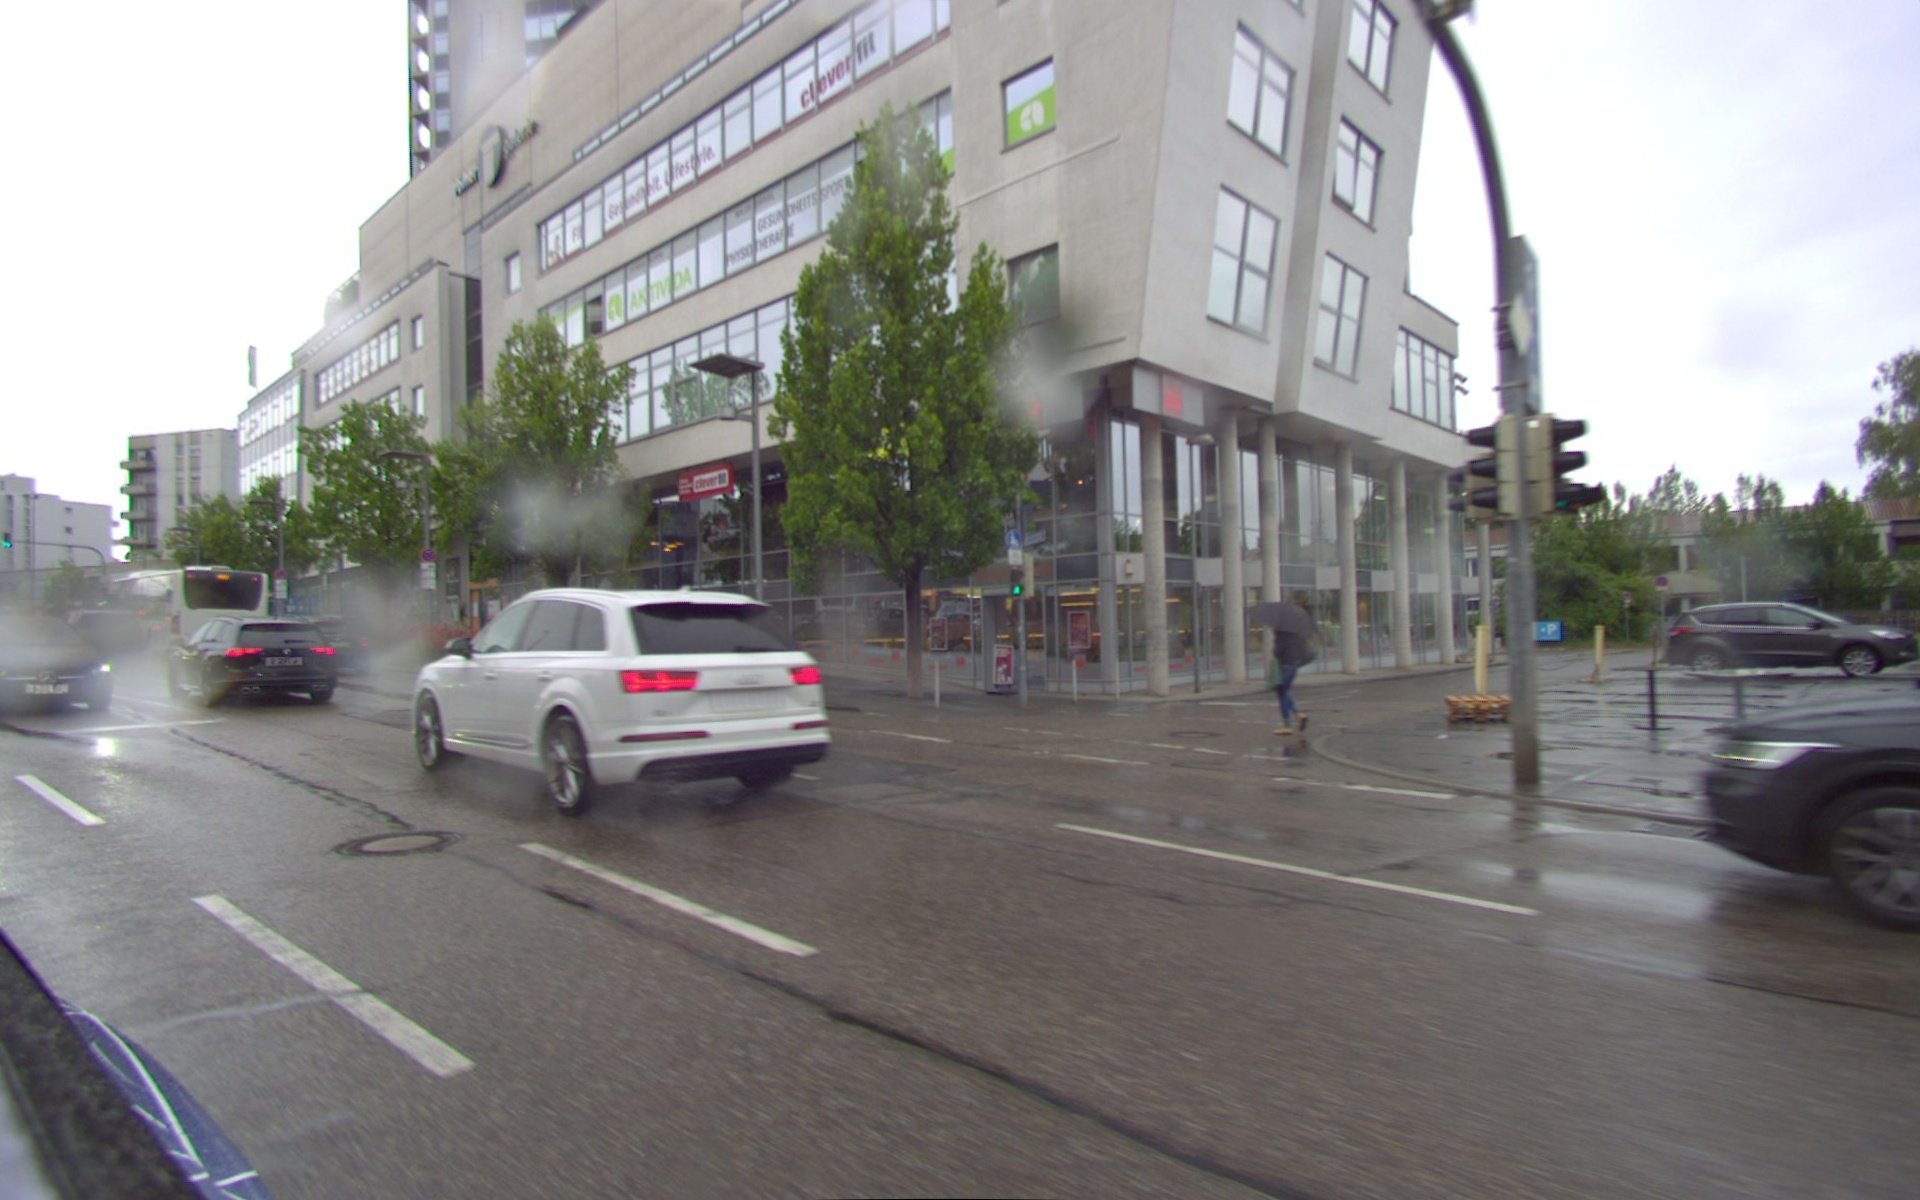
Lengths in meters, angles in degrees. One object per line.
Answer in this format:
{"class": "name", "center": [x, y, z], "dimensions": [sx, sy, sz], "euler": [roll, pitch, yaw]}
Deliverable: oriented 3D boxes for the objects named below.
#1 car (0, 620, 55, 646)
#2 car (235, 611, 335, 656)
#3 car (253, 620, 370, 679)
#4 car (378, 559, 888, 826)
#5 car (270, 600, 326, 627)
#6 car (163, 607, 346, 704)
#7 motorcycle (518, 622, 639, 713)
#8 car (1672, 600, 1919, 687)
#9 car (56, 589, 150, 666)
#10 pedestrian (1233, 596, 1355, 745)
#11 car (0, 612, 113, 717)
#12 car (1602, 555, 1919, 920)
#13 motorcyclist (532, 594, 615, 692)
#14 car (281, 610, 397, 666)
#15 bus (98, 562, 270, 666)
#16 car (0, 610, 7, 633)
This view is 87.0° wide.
{"class": "car", "center": [-48.960, 1.709, 53.002], "dimensions": [4.193, 1.266, 1.876], "euler": [0, -1, 42]}
{"class": "car", "center": [-23.756, 1.135, 35.583], "dimensions": [4.473, 1.458, 1.807], "euler": [0, -1, 41]}
{"class": "car", "center": [-16.515, 1.207, 25.730], "dimensions": [3.600, 1.348, 1.623], "euler": [0, -1, 42]}
{"class": "car", "center": [-3.083, 0.616, 8.919], "dimensions": [4.847, 1.725, 2.076], "euler": [0, -1, 41]}
{"class": "car", "center": [-36.382, 0.728, 55.575], "dimensions": [3.731, 1.421, 1.734], "euler": [0, -1, 43]}
{"class": "car", "center": [-12.192, 0.852, 17.371], "dimensions": [4.381, 1.445, 1.738], "euler": [0, -1, 44]}
{"class": "motorcycle", "center": [-5.959, 0.996, 15.744], "dimensions": [2.185, 1.293, 0.897], "euler": [0, -1, 43]}
{"class": "car", "center": [18.569, 0.897, 22.561], "dimensions": [1.730, 1.768, 4.167], "euler": [1, -1, -43]}
{"class": "car", "center": [-24.394, 0.753, 28.760], "dimensions": [4.286, 2.029, 1.615], "euler": [0, -1, 44]}
{"class": "pedestrian", "center": [4.288, 0.863, 12.997], "dimensions": [1.233, 1.802, 0.915], "euler": [0, -1, 41]}
{"class": "car", "center": [-14.861, 0.924, 15.869], "dimensions": [4.195, 1.461, 1.698], "euler": [0, -1, 40]}
{"class": "car", "center": [5.854, 0.626, 4.320], "dimensions": [1.977, 1.630, 4.952], "euler": [1, -1, -44]}
{"class": "motorcyclist", "center": [-6.033, 0.650, 15.796], "dimensions": [1.140, 1.467, 0.776], "euler": [0, -1, 43]}
{"class": "car", "center": [-19.482, 1.139, 31.692], "dimensions": [3.998, 1.608, 1.973], "euler": [0, -1, 41]}
{"class": "bus", "center": [-27.648, 0.452, 35.723], "dimensions": [11.999, 3.123, 2.860], "euler": [0, -1, 43]}
{"class": "car", "center": [-59.713, 1.305, 62.069], "dimensions": [3.282, 1.386, 1.548], "euler": [0, -2, 43]}
